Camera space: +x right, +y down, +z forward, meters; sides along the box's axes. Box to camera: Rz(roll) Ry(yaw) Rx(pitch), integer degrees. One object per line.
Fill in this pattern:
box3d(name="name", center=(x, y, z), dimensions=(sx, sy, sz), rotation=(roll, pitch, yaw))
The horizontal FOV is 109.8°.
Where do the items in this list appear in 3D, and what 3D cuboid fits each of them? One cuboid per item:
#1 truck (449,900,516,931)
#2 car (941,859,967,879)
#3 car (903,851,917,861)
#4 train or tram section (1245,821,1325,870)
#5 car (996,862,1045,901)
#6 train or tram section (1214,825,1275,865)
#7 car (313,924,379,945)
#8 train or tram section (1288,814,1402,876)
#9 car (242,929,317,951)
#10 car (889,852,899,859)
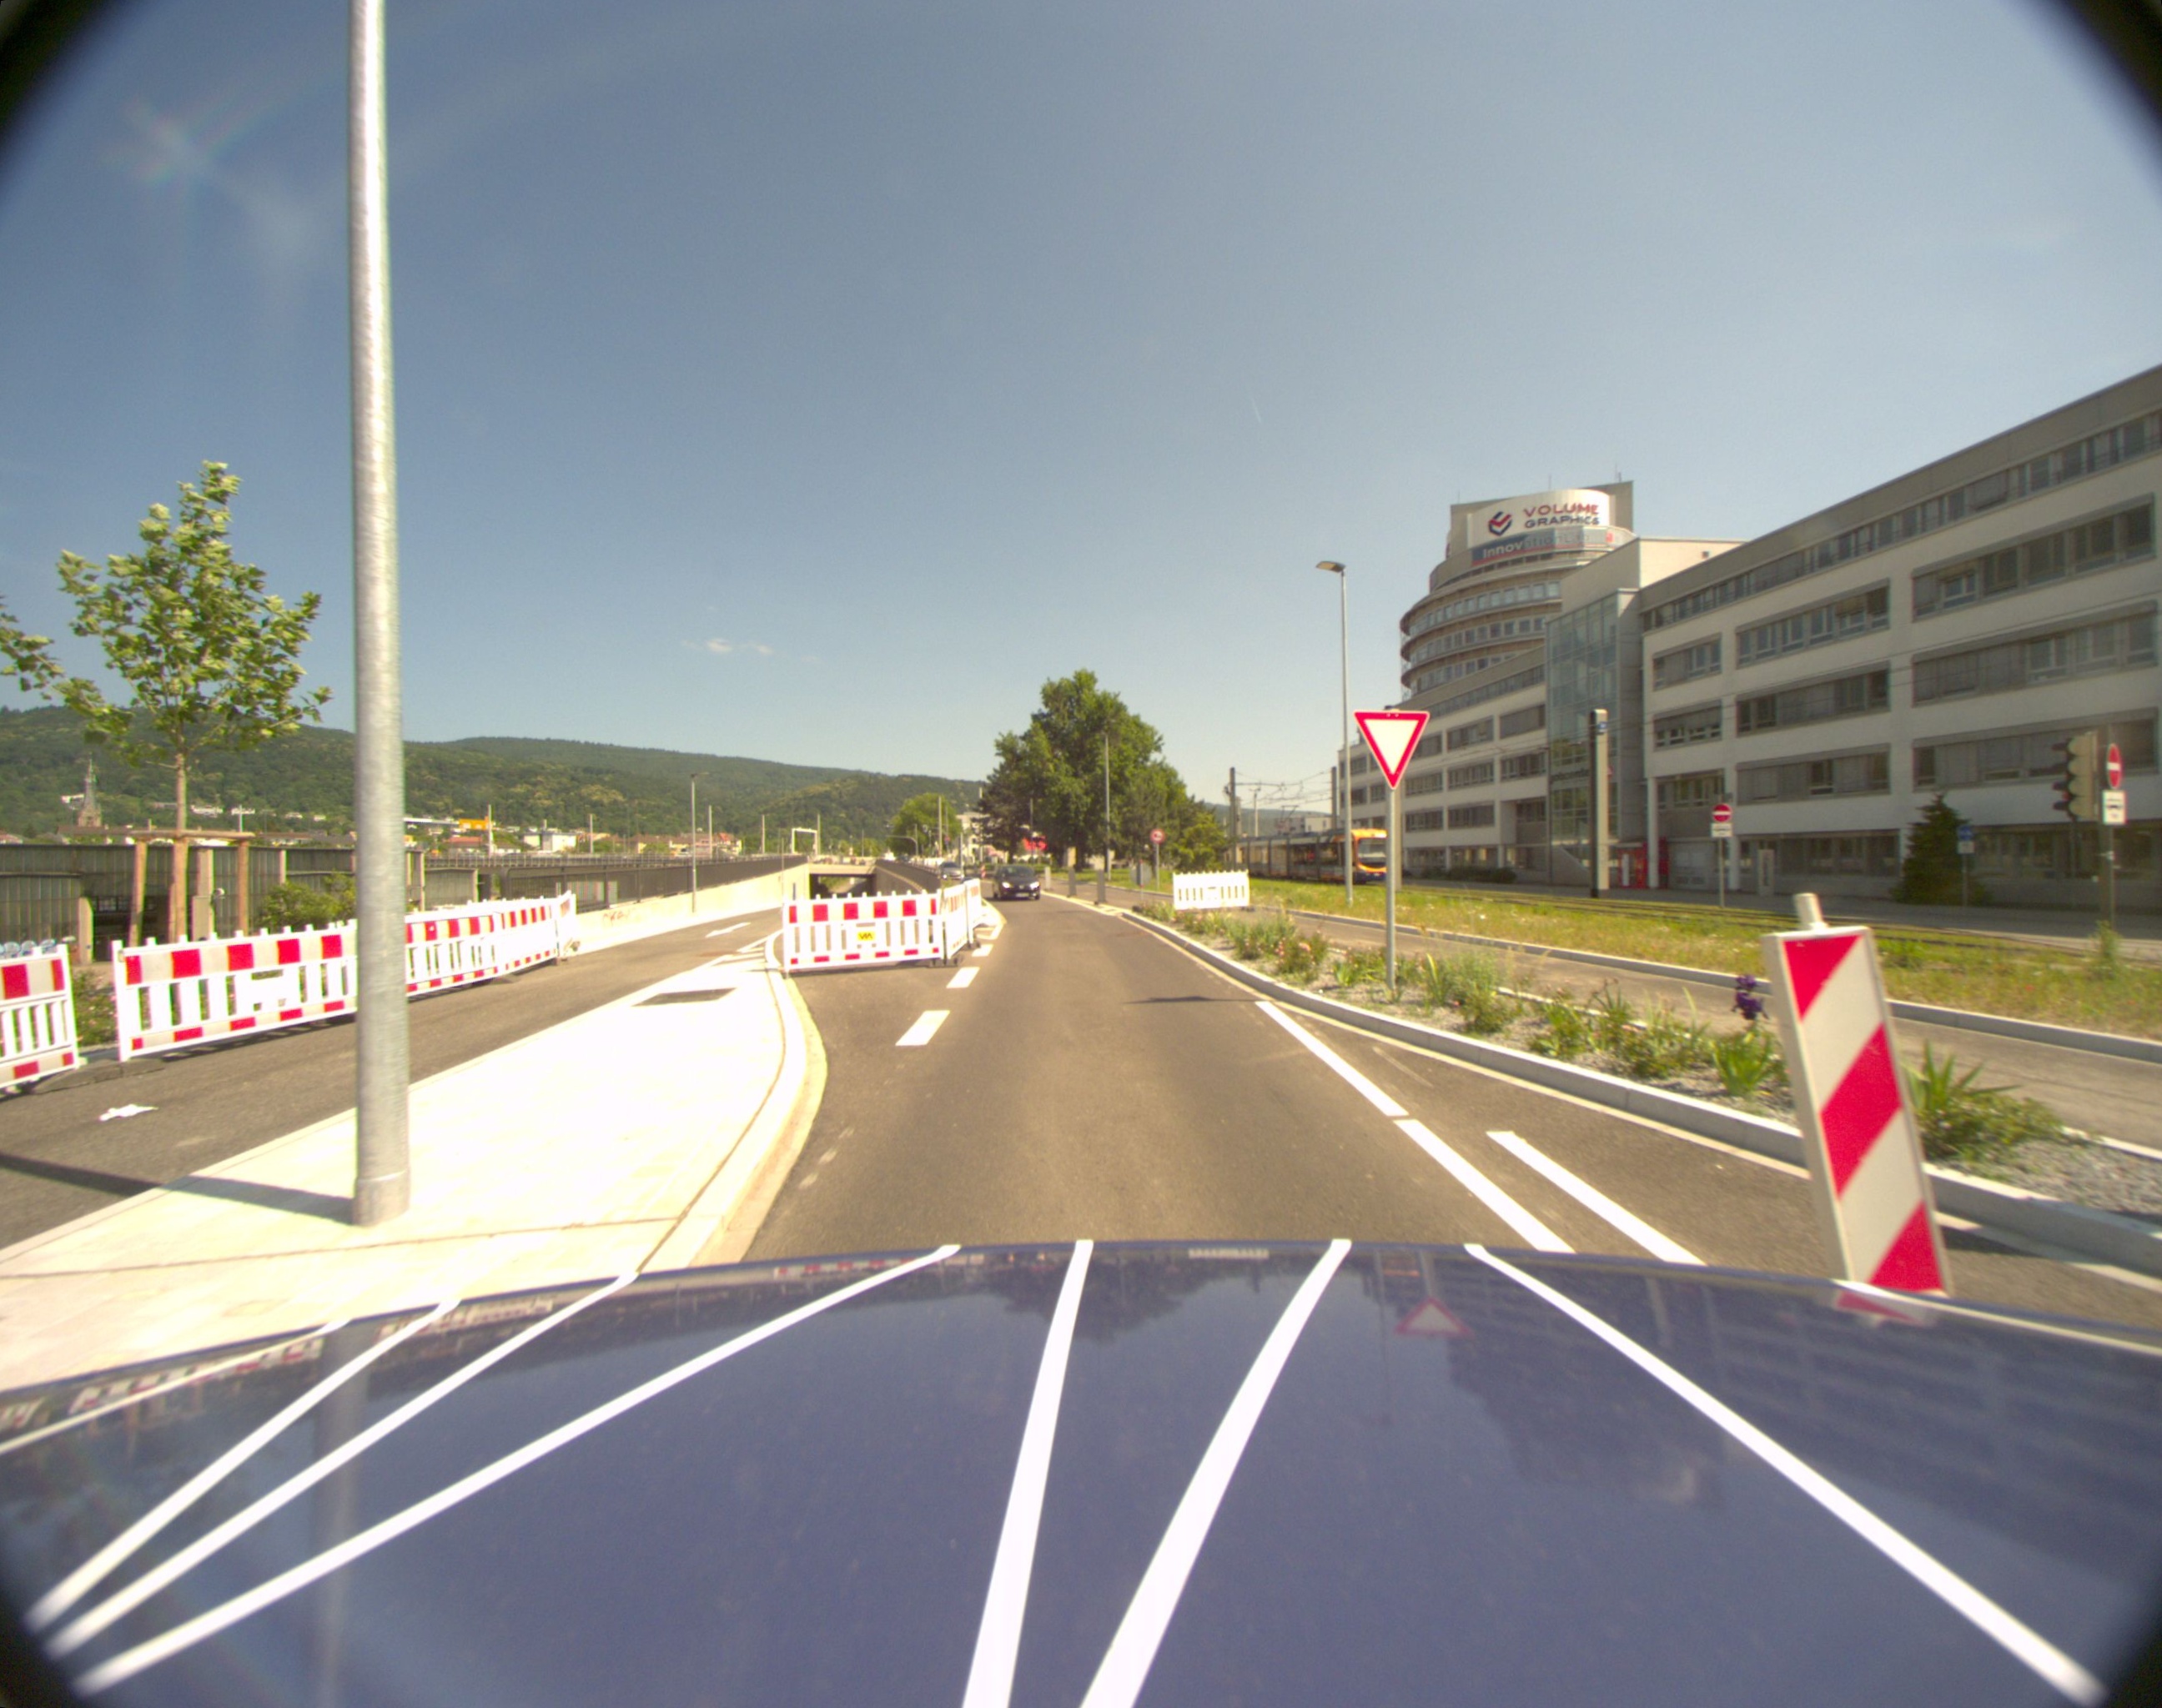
box3d(name="truck", center=(-70.965, 7.228, 90.324), dimensions=(2.000, 2.742, 8.387), rotation=(-2, 1, -6))
box3d(name="car", center=(-10.215, 1.190, 60.851), dimensions=(1.620, 1.433, 3.762), rotation=(-1, 1, -16))
box3d(name="car", center=(-24.398, 0.271, 108.403), dimensions=(1.621, 1.433, 3.761), rotation=(-1, 1, -19))
box3d(name="train or tram section", center=(16.080, -0.701, 61.072), dimensions=(2.632, 3.431, 11.776), rotation=(-2, 1, -3))
box3d(name="car", center=(-2.569, 1.087, 31.508), dimensions=(1.620, 1.433, 3.702), rotation=(-1, 1, -11))
box3d(name="train or tram section", center=(15.449, -0.846, 72.822), dimensions=(2.632, 3.431, 11.776), rotation=(-2, 1, -3))
box3d(name="car", center=(-71.623, 7.831, 74.052), dimensions=(4.369, 1.576, 1.744), rotation=(-2, 1, -7))
box3d(name="train or tram section", center=(16.709, -0.584, 49.316), dimensions=(2.632, 3.431, 11.776), rotation=(-2, 1, -3))
box3d(name="car", center=(-71.148, 7.615, 67.521), dimensions=(4.369, 1.576, 1.744), rotation=(-2, 1, -7))
box3d(name="car", center=(-39.692, 0.235, 161.362), dimensions=(1.621, 1.433, 3.761), rotation=(-1, 1, -20))
